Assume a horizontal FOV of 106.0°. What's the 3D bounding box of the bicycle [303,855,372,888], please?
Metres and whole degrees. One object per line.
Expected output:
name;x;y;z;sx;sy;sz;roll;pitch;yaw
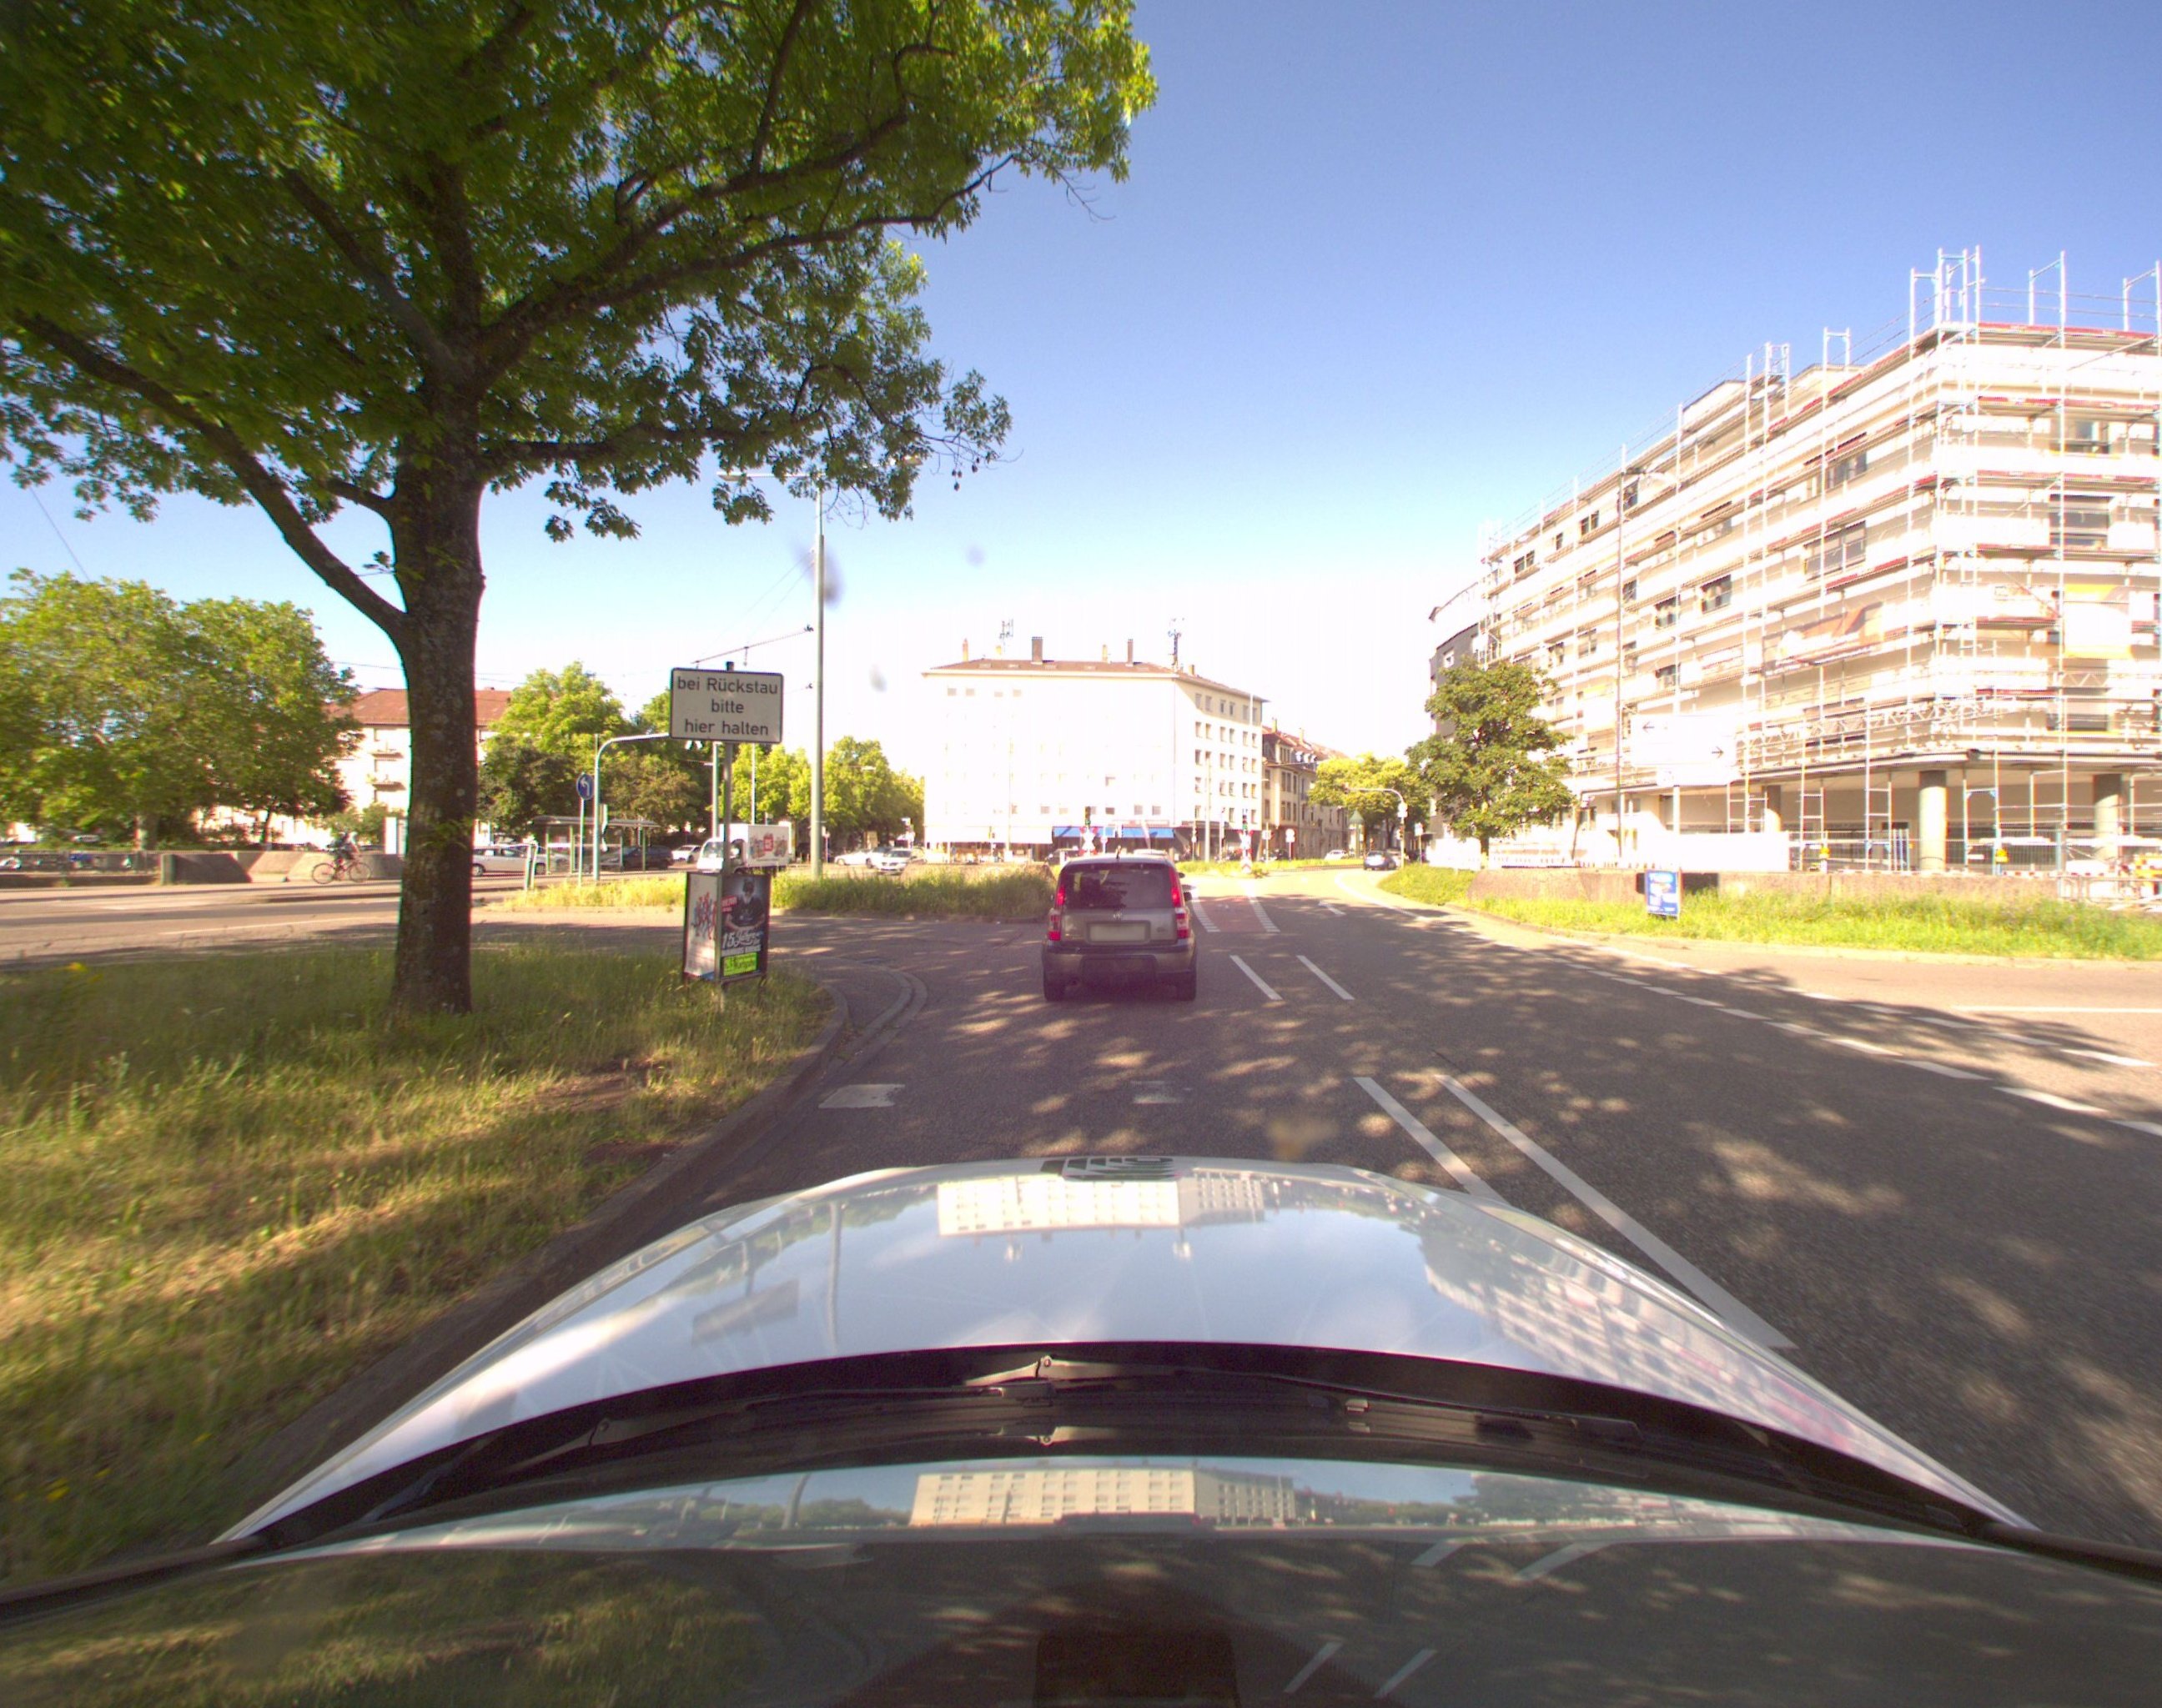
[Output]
bicycle;-25.255;0.578;27.703;0.607;1.001;1.666;2;2;16

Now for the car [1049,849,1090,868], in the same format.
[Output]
car;-0.816;0.285;55.537;1.696;1.253;3.602;1;0;-20

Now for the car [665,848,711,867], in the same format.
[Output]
car;-33.886;0.280;70.306;1.753;1.617;4.230;1;1;3

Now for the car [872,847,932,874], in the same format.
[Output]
car;-9.881;0.343;45.369;1.652;1.448;4.415;1;0;10

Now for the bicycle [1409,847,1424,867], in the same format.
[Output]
bicycle;26.874;0.226;65.258;0.567;1.511;2.825;0;0;33

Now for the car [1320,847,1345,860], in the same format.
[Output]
car;29.242;-0.105;94.697;1.773;1.483;3.554;1;0;35

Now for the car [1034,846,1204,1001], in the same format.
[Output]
car;0.429;0.665;9.596;1.653;1.510;3.253;0;0;2

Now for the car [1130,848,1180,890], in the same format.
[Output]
car;2.826;0.511;30.784;1.751;1.486;4.301;0;0;6

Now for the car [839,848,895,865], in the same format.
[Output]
car;-17.092;0.199;65.274;3.976;1.243;1.999;1;0;-2

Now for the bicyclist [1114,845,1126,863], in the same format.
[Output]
bicyclist;3.298;-0.015;68.928;0.814;1.559;0.565;0;0;24

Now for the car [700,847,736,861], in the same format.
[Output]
car;-33.764;-0.042;75.822;1.589;1.293;3.703;0;1;0

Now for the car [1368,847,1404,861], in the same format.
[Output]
car;34.095;-0.001;91.059;1.906;1.594;3.983;0;0;-13

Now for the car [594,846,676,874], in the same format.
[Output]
car;-26.344;0.311;48.239;1.743;1.488;4.030;3;2;22

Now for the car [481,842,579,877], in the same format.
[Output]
car;-29.708;0.257;44.026;1.742;1.717;4.024;4;2;27

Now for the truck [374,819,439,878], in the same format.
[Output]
truck;-35.916;-0.329;43.300;4.768;2.994;2.012;1;1;42

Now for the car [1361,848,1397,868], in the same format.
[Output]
car;22.107;0.281;60.369;1.758;1.442;3.641;1;1;33

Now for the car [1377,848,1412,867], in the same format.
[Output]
car;24.862;0.249;64.510;1.802;1.508;4.026;0;1;33

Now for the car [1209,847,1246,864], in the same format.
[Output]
car;13.007;0.119;72.154;1.773;1.395;3.749;1;0;35

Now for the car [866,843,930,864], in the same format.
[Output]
car;-14.014;-0.021;62.234;4.336;1.562;2.010;1;0;19

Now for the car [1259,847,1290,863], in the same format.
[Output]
car;19.341;0.101;81.238;1.773;1.565;3.790;1;0;35

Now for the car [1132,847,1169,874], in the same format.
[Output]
car;3.778;0.329;44.521;1.641;1.438;3.394;0;0;-2

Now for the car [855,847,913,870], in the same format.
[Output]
car;-13.885;0.305;57.268;3.949;1.572;2.012;1;0;41

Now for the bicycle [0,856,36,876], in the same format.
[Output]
bicycle;-45.426;0.501;34.292;1.695;0.839;0.541;0;0;-43

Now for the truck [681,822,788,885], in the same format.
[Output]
truck;-14.259;-0.029;33.777;1.774;2.426;4.128;0;0;17

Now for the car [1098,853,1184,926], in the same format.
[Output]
car;1.239;0.711;18.061;1.616;1.429;3.687;0;0;-1

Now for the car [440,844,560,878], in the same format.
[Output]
car;-29.042;0.330;40.816;1.849;1.543;4.576;4;3;43

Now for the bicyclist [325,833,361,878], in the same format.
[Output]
bicyclist;-25.162;0.041;27.762;0.607;1.530;0.679;2;1;17

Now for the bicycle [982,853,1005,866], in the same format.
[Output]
bicycle;-7.009;0.414;64.896;1.833;0.951;0.790;1;-1;44

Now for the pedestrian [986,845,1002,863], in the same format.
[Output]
pedestrian;-6.931;0.024;64.851;0.927;1.427;0.780;1;-1;45
